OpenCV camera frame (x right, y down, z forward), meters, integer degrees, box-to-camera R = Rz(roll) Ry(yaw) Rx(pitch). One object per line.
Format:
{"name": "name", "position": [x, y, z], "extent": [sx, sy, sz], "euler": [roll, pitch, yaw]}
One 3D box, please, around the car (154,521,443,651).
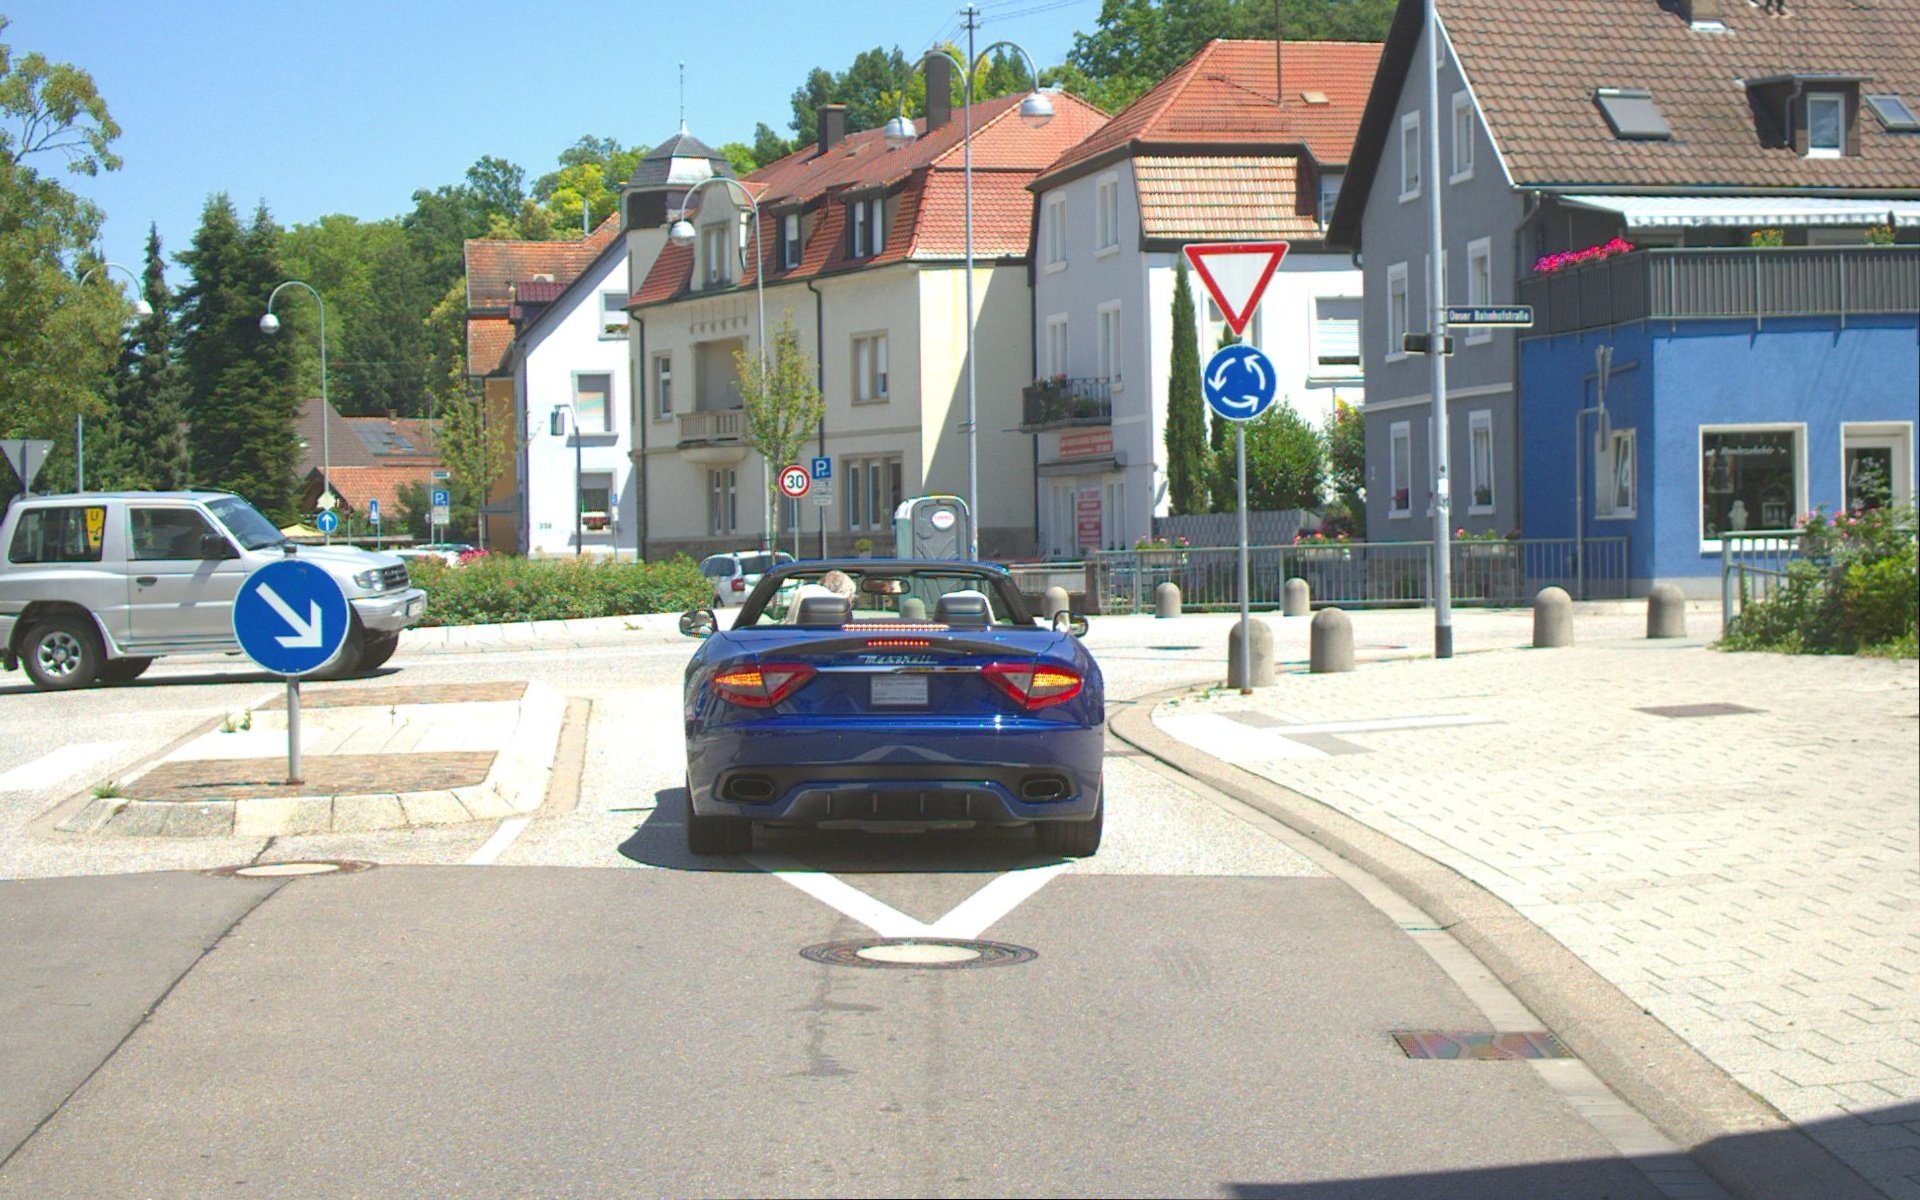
{"name": "car", "position": [-7.580, -0.155, 39.109], "extent": [1.993, 1.325, 4.201], "euler": [-3, 1, -29]}

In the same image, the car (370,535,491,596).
{"name": "car", "position": [-14.784, -0.943, 95.794], "extent": [1.850, 1.582, 4.000], "euler": [-3, 1, -32]}

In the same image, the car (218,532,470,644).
{"name": "car", "position": [-8.811, -0.181, 49.259], "extent": [3.458, 1.445, 1.581], "euler": [-2, 1, -10]}

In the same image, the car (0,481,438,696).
{"name": "car", "position": [-7.196, -0.110, 32.180], "extent": [4.217, 1.868, 1.763], "euler": [-1, 1, 6]}

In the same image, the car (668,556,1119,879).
{"name": "car", "position": [-0.306, 0.471, 16.741], "extent": [1.910, 1.356, 4.286], "euler": [0, 1, -1]}

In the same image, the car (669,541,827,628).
{"name": "car", "position": [-4.272, -0.294, 68.729], "extent": [1.918, 1.607, 4.148], "euler": [-2, 0, -22]}
